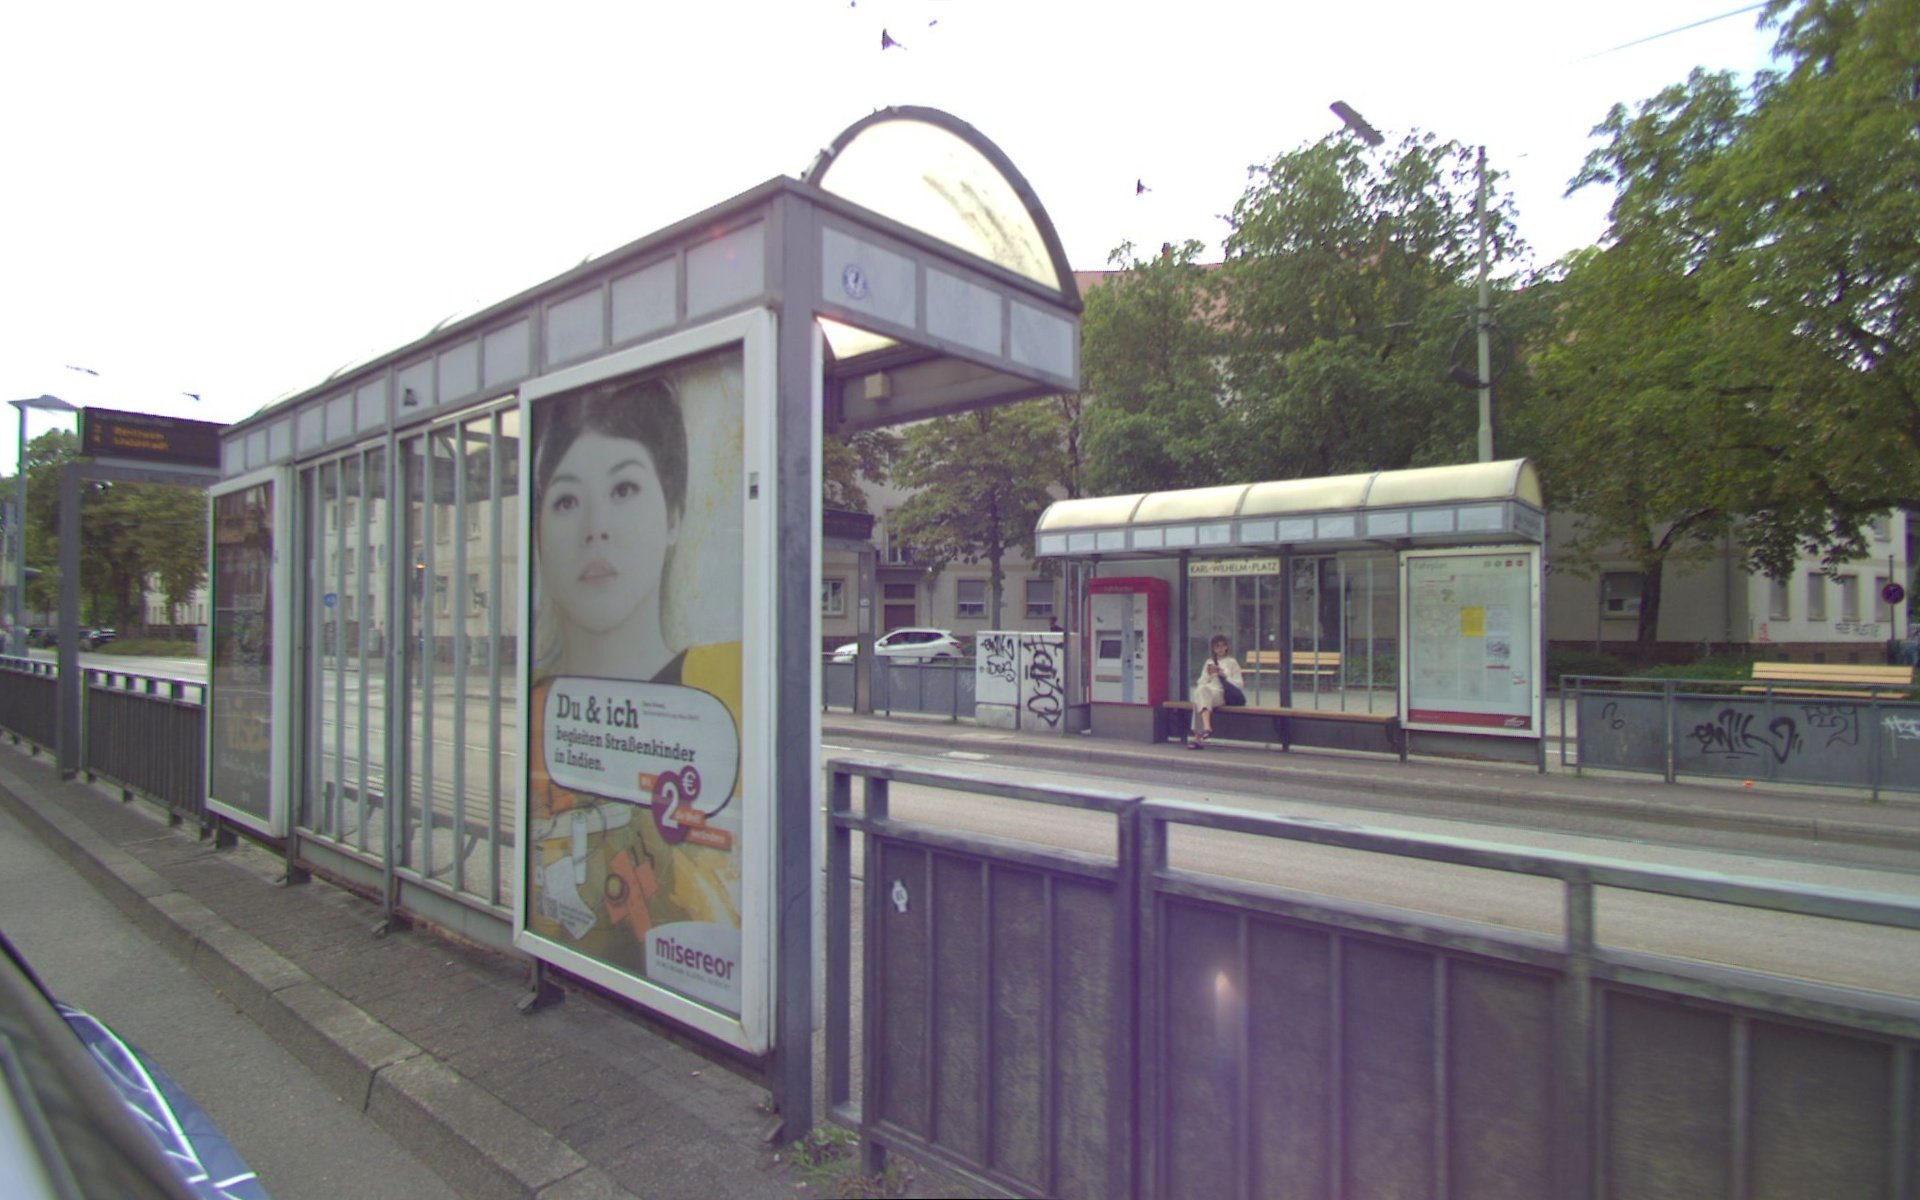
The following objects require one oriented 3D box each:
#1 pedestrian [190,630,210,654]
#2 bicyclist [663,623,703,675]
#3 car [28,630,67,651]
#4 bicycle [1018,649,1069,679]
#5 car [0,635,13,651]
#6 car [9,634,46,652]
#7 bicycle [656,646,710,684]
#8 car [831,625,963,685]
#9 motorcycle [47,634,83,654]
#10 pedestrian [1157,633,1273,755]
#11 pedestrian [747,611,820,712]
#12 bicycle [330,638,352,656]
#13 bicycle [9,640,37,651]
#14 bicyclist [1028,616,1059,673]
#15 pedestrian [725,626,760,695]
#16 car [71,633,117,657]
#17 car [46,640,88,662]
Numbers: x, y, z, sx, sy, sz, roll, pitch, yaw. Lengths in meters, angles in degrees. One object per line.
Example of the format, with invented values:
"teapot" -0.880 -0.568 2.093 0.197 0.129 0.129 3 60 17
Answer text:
"pedestrian" -48.198 2.641 64.192 0.731 1.524 0.825 -2 -3 35
"bicyclist" -7.460 1.310 27.257 0.835 1.350 0.654 -2 -3 41
"car" -71.653 3.159 79.441 4.297 1.624 1.767 -2 -3 41
"bicycle" 2.659 2.023 32.243 1.561 0.944 0.605 0 -2 14
"car" -93.144 4.153 97.899 4.295 1.482 1.680 -1 -2 39
"car" -78.658 3.643 85.335 4.294 1.482 1.680 -2 -3 39
"bicycle" -7.461 1.737 27.237 1.549 0.956 0.654 -2 -3 41
"car" -2.108 1.788 33.234 4.092 1.734 1.845 2 -1 -9
"motorcycle" -65.841 3.229 74.466 0.591 1.269 1.850 -2 3 36
"pedestrian" 2.935 1.035 11.616 0.984 1.303 1.049 -1 -2 36
"pedestrian" -2.959 1.017 16.991 0.841 1.633 0.844 -1 -3 36
"bicycle" -31.810 2.406 52.003 1.671 0.922 0.472 -2 -3 41
"bicycle" -82.018 4.002 88.612 0.671 0.978 1.654 -1 -3 31
"bicyclist" 2.672 1.415 32.266 0.902 1.789 0.610 0 -2 13
"pedestrian" -6.188 1.715 28.765 0.720 1.915 0.838 1 -3 -31
"car" -56.875 2.941 66.443 4.297 1.434 1.679 -2 0 41
"car" -63.178 3.573 71.589 4.297 1.434 1.679 -2 -2 41
